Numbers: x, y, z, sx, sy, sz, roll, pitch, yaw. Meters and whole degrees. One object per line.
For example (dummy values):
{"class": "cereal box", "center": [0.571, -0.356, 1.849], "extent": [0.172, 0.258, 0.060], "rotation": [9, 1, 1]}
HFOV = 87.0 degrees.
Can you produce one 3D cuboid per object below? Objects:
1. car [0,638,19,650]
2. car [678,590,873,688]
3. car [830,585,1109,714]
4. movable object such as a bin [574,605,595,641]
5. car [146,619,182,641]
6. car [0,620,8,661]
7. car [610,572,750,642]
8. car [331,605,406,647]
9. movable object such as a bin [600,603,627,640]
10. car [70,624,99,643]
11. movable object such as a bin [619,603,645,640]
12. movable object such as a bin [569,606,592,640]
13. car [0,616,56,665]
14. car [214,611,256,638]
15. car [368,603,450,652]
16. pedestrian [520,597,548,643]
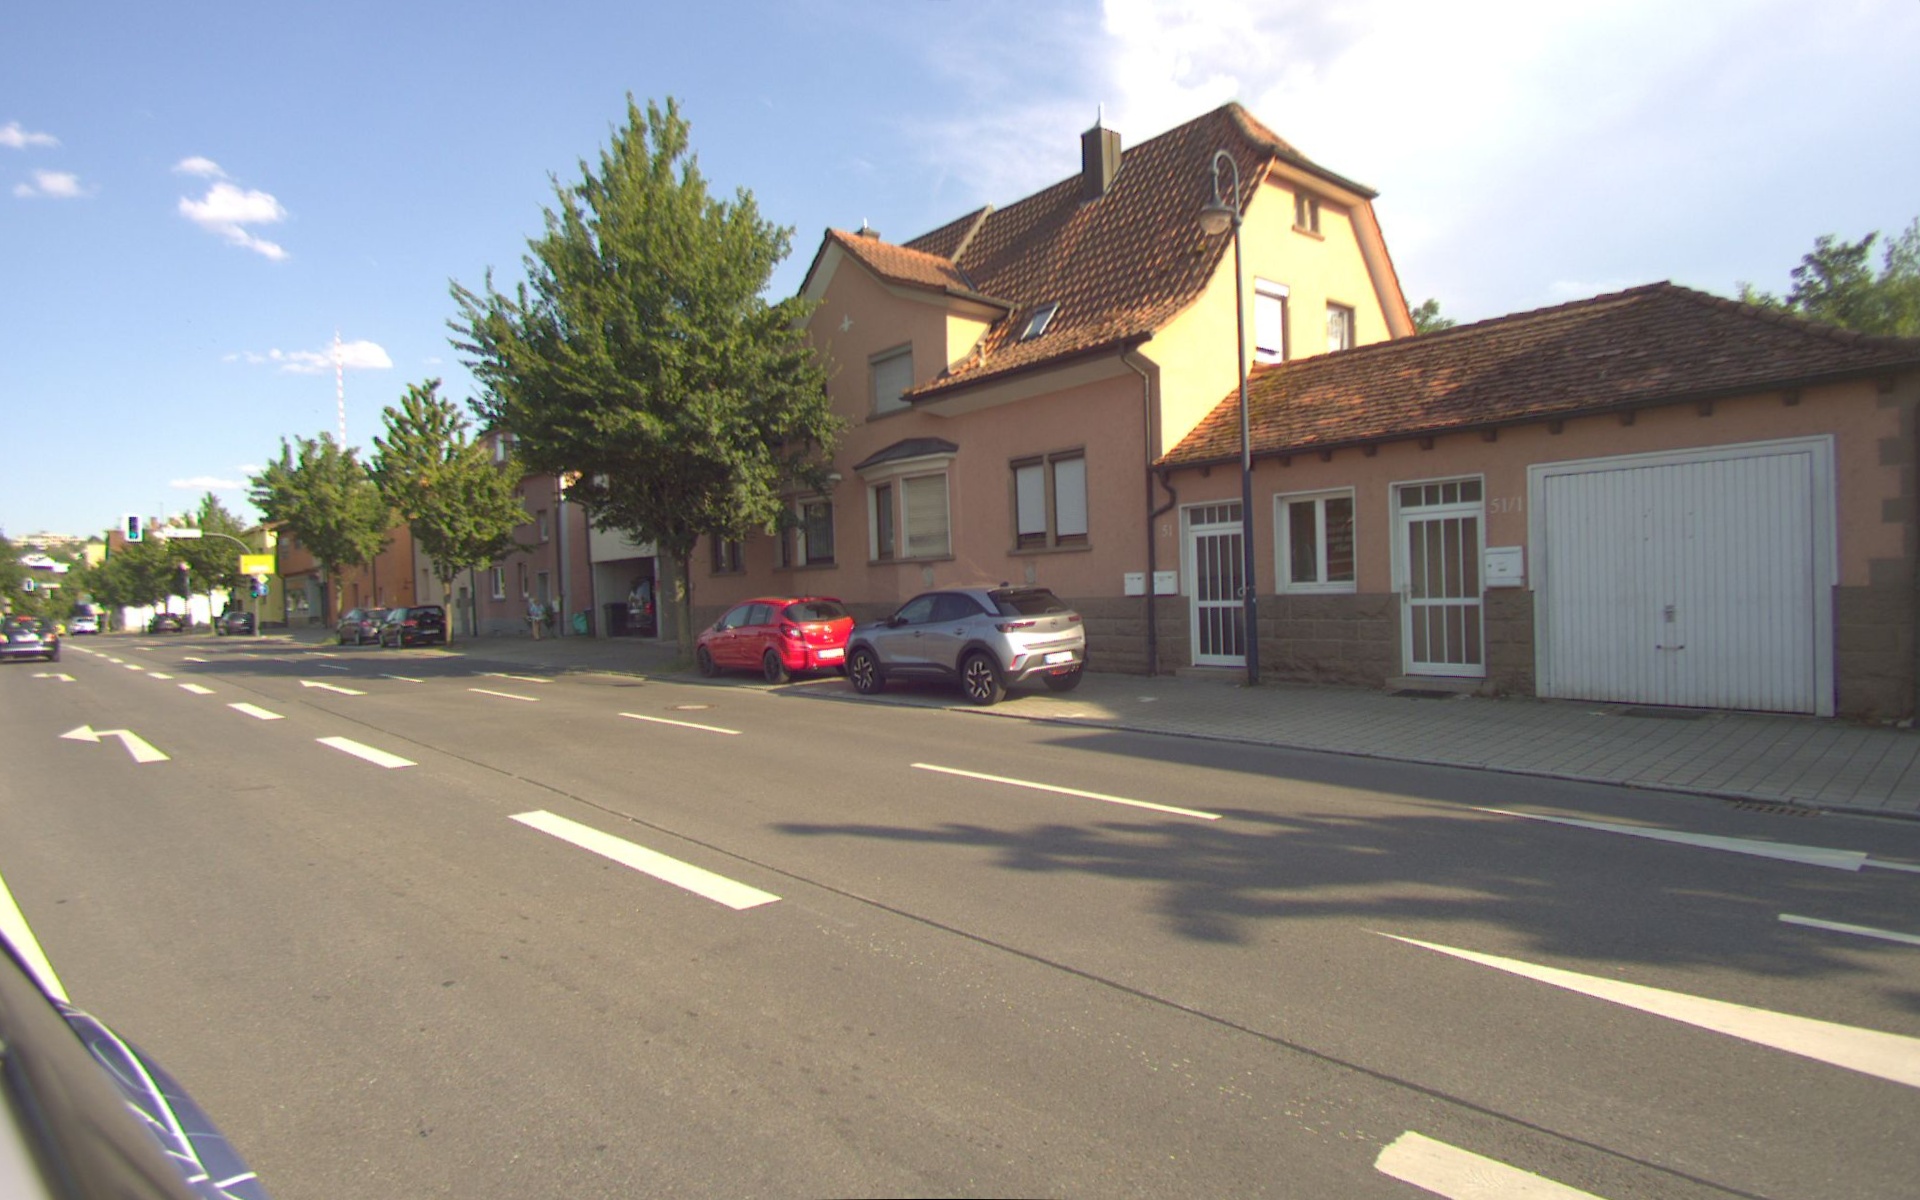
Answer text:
{"class": "car", "center": [-128.296, 5.909, 136.598], "extent": [4.001, 1.422, 1.738], "rotation": [-2, 0, 44]}
{"class": "car", "center": [-3.481, 0.657, 18.571], "extent": [1.645, 1.498, 4.006], "rotation": [-5, 3, -41]}
{"class": "car", "center": [0.003, 0.645, 14.583], "extent": [1.734, 1.490, 4.006], "rotation": [-5, 2, -41]}
{"class": "movable object such as a bin", "center": [-12.145, 0.745, 32.737], "extent": [0.501, 1.146, 0.470], "rotation": [-2, -1, 45]}
{"class": "car", "center": [-62.538, 2.338, 79.464], "extent": [1.833, 1.607, 4.464], "rotation": [-1, 0, -44]}
{"class": "car", "center": [-35.612, 1.479, 36.684], "extent": [1.570, 1.438, 3.581], "rotation": [-1, 0, -43]}
{"class": "car", "center": [-8.709, 0.181, 31.667], "extent": [3.777, 1.895, 1.780], "rotation": [-4, 2, -44]}
{"class": "car", "center": [-23.537, 1.045, 40.240], "extent": [3.886, 1.521, 1.495], "rotation": [-2, 1, 44]}
{"class": "movable object such as a bin", "center": [-11.039, 0.693, 32.240], "extent": [0.575, 1.151, 0.560], "rotation": [-2, -1, 39]}
{"class": "car", "center": [-81.878, 3.133, 94.578], "extent": [4.414, 1.624, 1.667], "rotation": [-2, 0, 44]}
{"class": "movable object such as a bin", "center": [-10.630, 0.695, 32.837], "extent": [0.575, 1.151, 0.560], "rotation": [-2, -1, 39]}
{"class": "movable object such as a bin", "center": [-12.915, 0.782, 34.433], "extent": [0.544, 1.151, 0.530], "rotation": [-1, -1, -43]}
{"class": "car", "center": [-30.331, 1.304, 32.678], "extent": [1.514, 1.473, 3.508], "rotation": [-1, 0, -44]}
{"class": "car", "center": [-44.180, 1.510, 61.659], "extent": [1.573, 1.449, 3.779], "rotation": [-7, 3, -42]}
{"class": "car", "center": [-19.605, 0.954, 35.937], "extent": [1.646, 1.543, 3.907], "rotation": [-5, 2, -42]}
{"class": "pedestrian", "center": [-15.297, 0.714, 36.327], "extent": [0.765, 1.619, 0.724], "rotation": [-1, 0, -35]}
